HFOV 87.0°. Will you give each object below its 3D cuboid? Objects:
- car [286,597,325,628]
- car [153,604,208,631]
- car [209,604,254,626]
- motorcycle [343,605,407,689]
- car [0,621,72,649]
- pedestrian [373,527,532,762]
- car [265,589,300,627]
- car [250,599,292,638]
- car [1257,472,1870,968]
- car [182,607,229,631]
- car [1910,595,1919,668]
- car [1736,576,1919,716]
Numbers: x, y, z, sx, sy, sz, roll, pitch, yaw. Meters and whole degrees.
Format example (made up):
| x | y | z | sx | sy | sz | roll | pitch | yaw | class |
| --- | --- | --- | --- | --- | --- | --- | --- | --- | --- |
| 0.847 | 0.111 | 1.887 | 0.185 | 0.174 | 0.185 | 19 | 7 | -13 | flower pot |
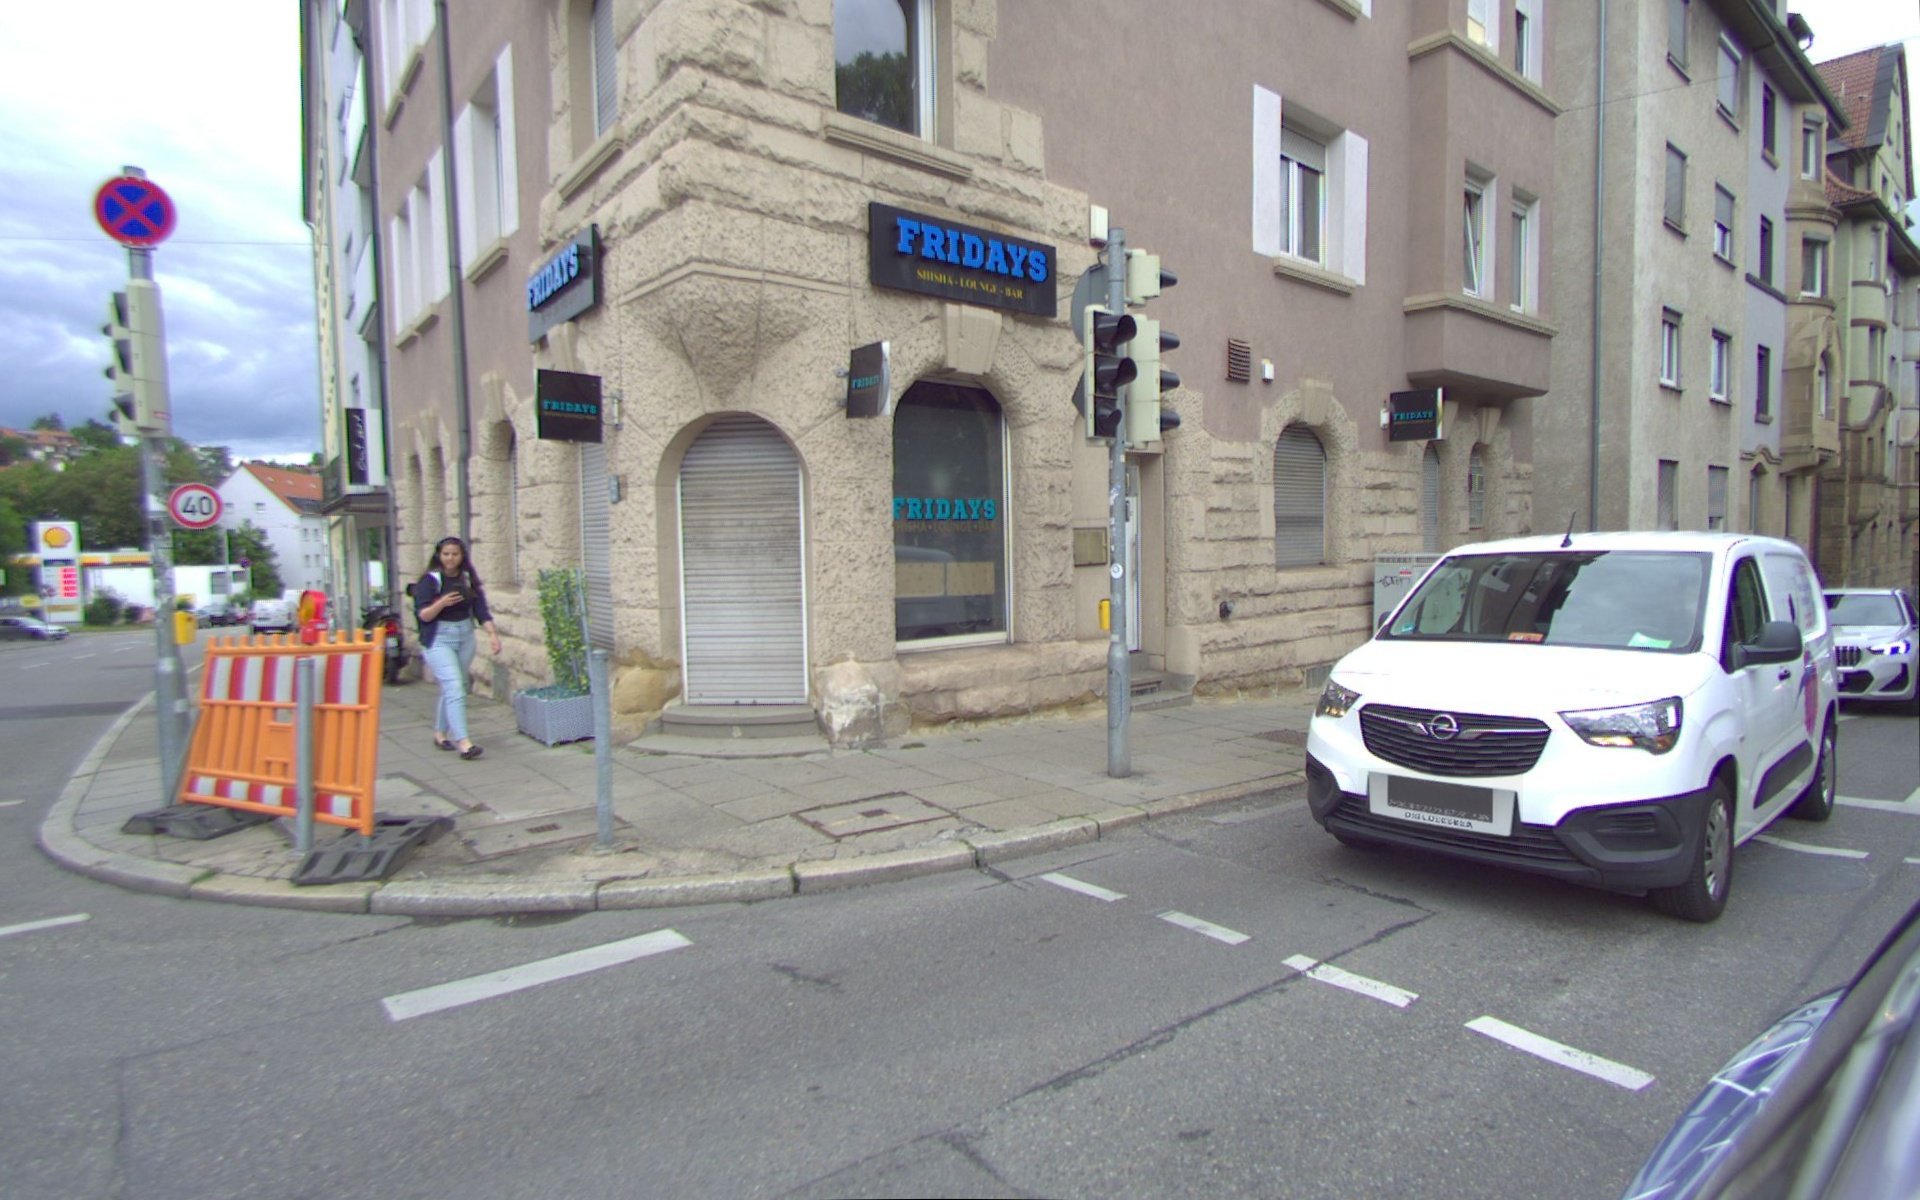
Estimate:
| x | y | z | sx | sy | sz | roll | pitch | yaw | class |
| --- | --- | --- | --- | --- | --- | --- | --- | --- | --- |
| -51.752 | 0.950 | 80.095 | 1.959 | 2.312 | 4.070 | -2 | 1 | -25 | car |
| -55.323 | 1.182 | 71.907 | 1.837 | 1.790 | 4.008 | -1 | 1 | -19 | car |
| -58.423 | 1.157 | 81.221 | 1.837 | 1.640 | 4.008 | -1 | 1 | -19 | car |
| -8.453 | 0.647 | 14.599 | 0.506 | 1.096 | 1.682 | -5 | 3 | -38 | motorcycle |
| -54.637 | 2.077 | 58.886 | 3.916 | 1.454 | 2.004 | -2 | 1 | -15 | car |
| -3.897 | 0.305 | 7.767 | 0.999 | 1.668 | 0.725 | 0 | 1 | 37 | pedestrian |
| -44.301 | 0.471 | 66.265 | 1.833 | 2.258 | 4.003 | 0 | 3 | -33 | car |
| -38.474 | 0.977 | 56.569 | 1.833 | 1.882 | 4.003 | 0 | 3 | -33 | car |
| 3.842 | 0.397 | 5.972 | 4.761 | 1.812 | 1.786 | -1 | 1 | -42 | car |
| -56.962 | 1.394 | 76.484 | 1.837 | 1.640 | 4.008 | -1 | 1 | -22 | car |
| 21.324 | 0.604 | 21.103 | 4.091 | 1.460 | 1.778 | 0 | -1 | -41 | car |
| 12.168 | 0.541 | 13.748 | 4.091 | 1.628 | 1.778 | 0 | -1 | -41 | car |
